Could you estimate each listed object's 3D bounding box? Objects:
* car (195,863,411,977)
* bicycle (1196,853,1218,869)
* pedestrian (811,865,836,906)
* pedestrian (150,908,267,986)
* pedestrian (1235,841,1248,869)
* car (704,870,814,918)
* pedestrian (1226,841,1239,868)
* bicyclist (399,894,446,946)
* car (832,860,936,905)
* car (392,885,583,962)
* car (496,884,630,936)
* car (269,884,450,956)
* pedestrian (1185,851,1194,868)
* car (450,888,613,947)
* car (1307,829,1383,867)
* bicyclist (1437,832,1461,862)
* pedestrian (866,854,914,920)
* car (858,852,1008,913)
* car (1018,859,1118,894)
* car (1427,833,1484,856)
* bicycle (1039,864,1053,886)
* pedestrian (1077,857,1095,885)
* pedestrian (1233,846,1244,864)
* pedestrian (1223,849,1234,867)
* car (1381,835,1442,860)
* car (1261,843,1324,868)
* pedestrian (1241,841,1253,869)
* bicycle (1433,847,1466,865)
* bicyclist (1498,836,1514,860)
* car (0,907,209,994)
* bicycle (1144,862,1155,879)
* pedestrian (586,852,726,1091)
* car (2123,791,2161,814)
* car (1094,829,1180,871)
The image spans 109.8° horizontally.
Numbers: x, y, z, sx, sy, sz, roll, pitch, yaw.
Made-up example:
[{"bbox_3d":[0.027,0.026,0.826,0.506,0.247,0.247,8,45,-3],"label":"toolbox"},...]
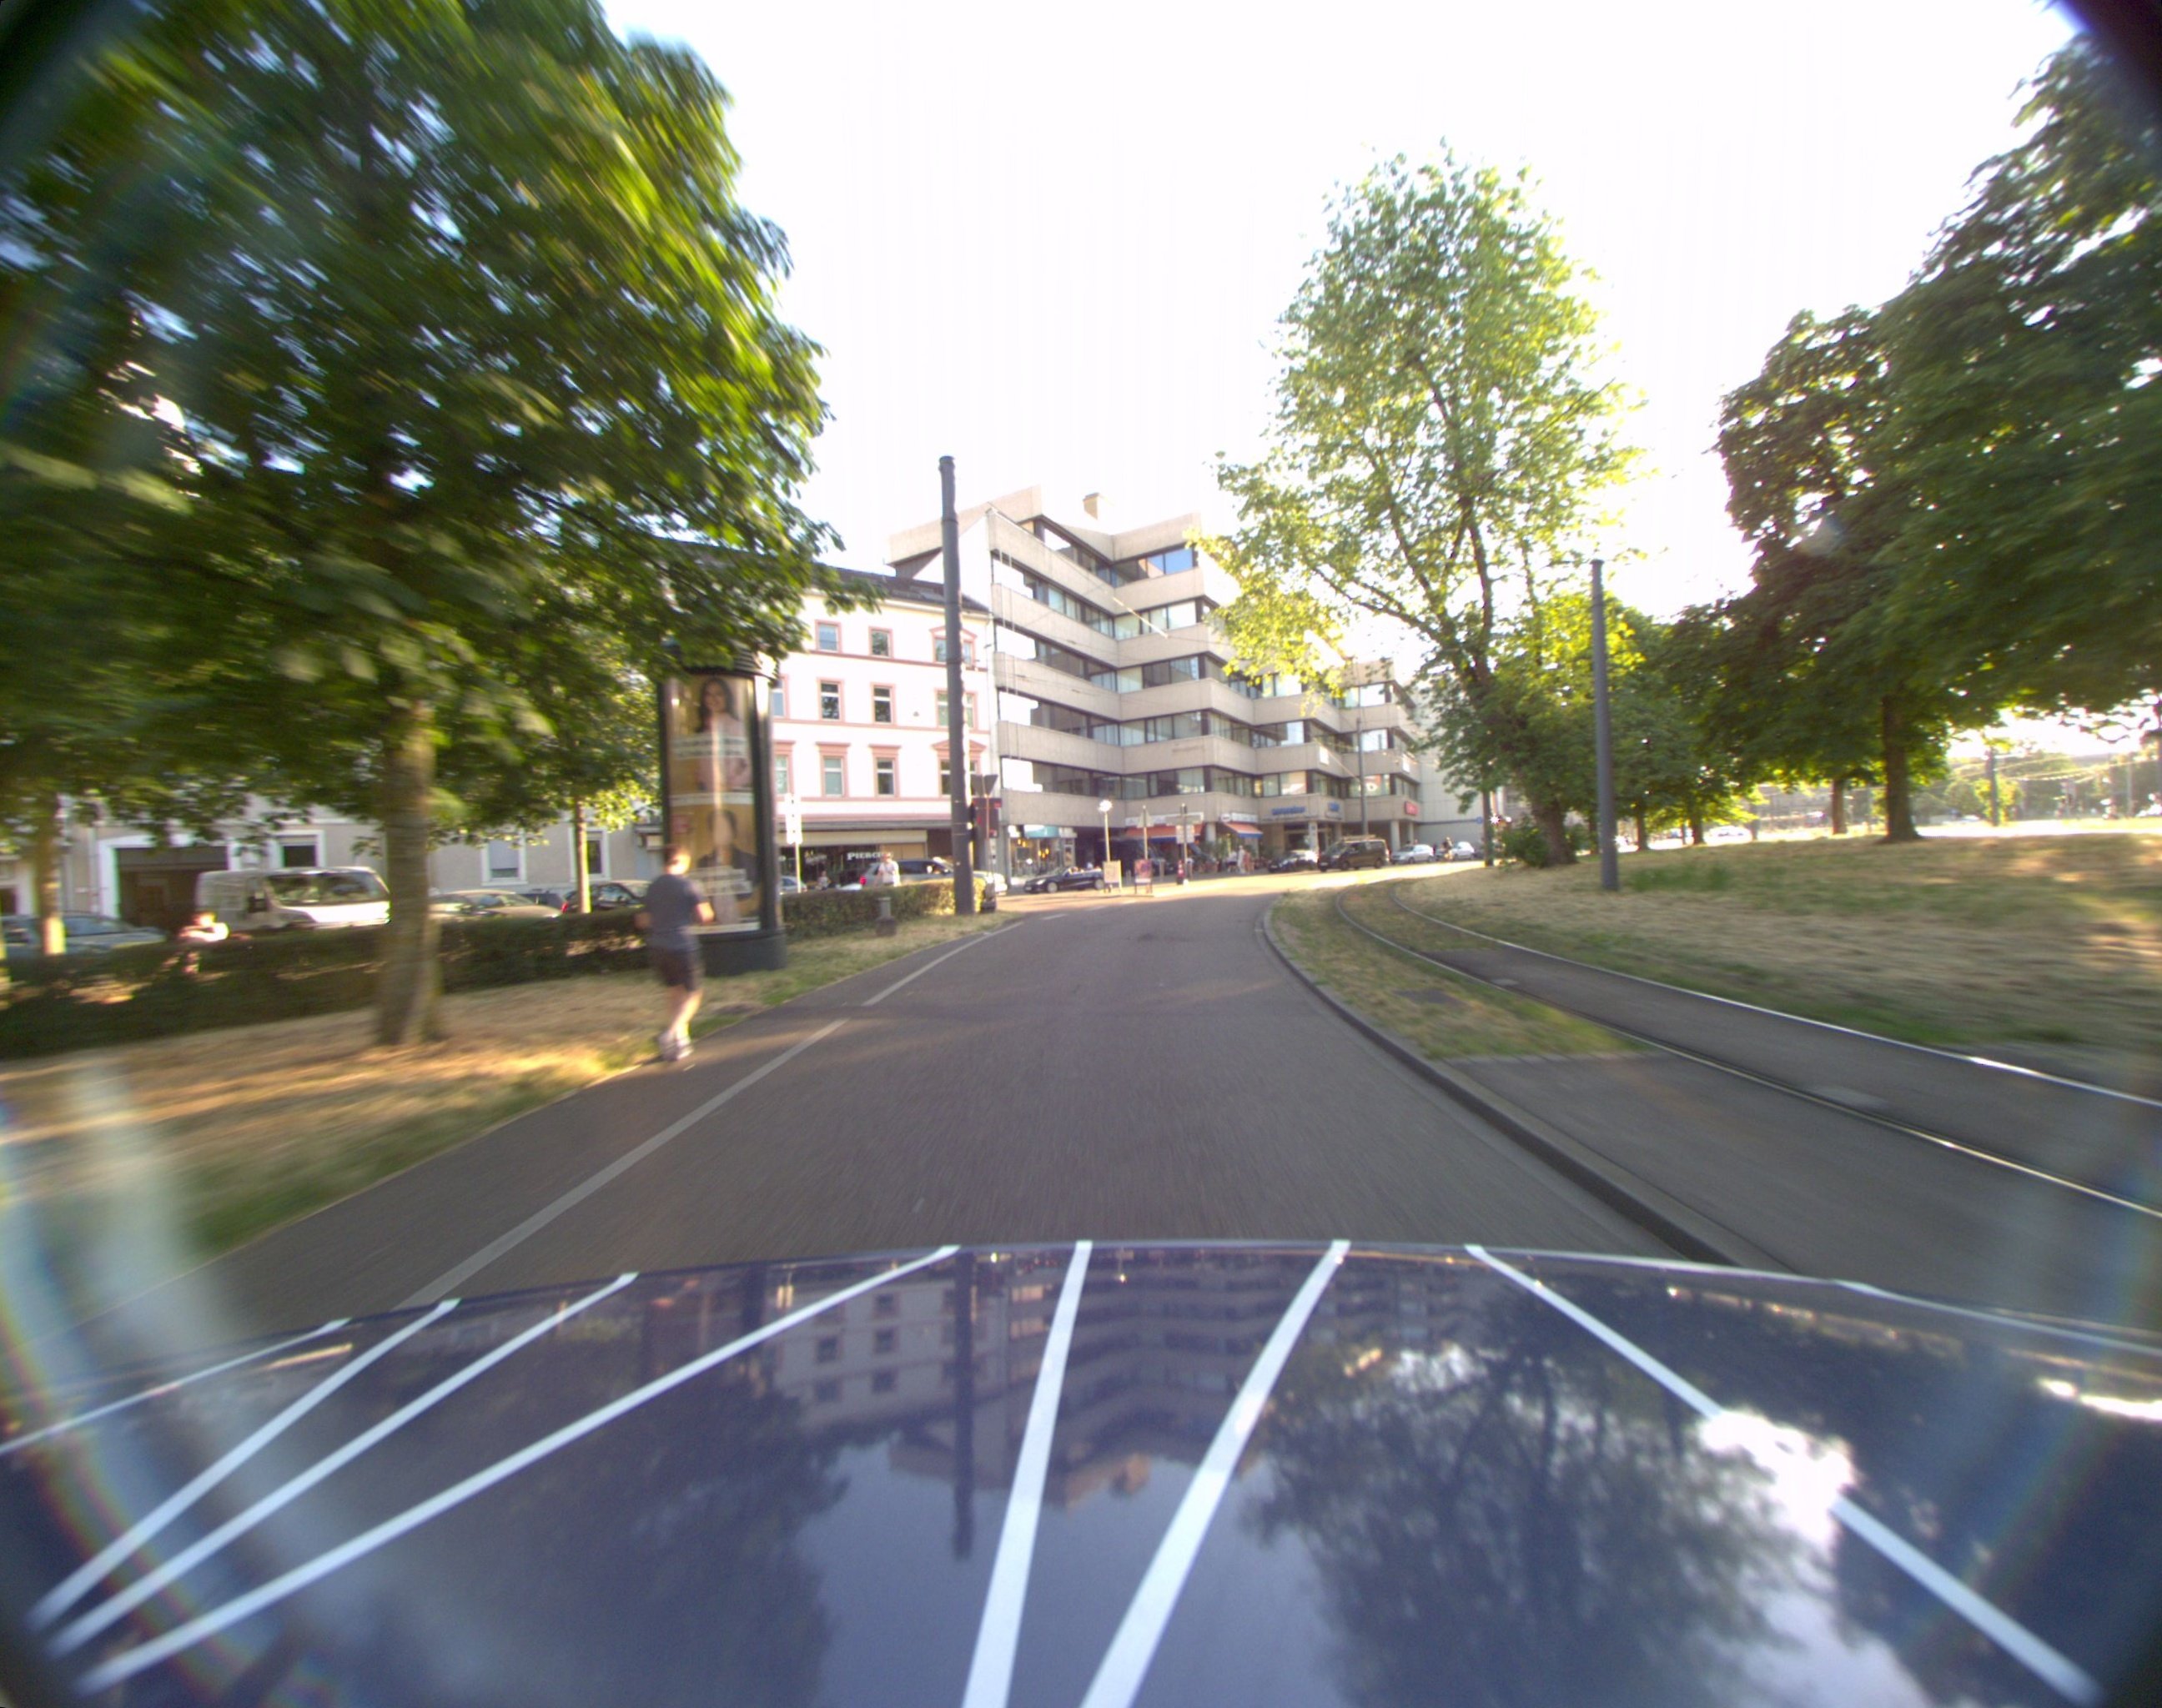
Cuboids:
[{"bbox_3d":[-17.835,1.491,17.387,4.869,2.227,2.098,-4,0,28],"label":"car"},{"bbox_3d":[8.579,0.468,51.891,1.444,0.987,0.531,-1,3,5],"label":"bicycle"},{"bbox_3d":[-11.600,1.418,34.203,0.796,1.789,0.637,-4,0,-34],"label":"pedestrian"},{"bbox_3d":[-15.834,1.646,13.842,0.962,1.219,1.368,-4,0,-31],"label":"pedestrian"},{"bbox_3d":[10.852,0.059,51.411,0.572,1.828,0.605,3,4,44],"label":"pedestrian"},{"bbox_3d":[-13.816,1.646,32.633,4.006,1.631,1.995,-4,3,-31],"label":"car"},{"bbox_3d":[10.381,0.029,52.002,0.537,1.828,0.619,-2,4,-44],"label":"pedestrian"},{"bbox_3d":[-21.736,2.154,25.096,1.012,1.605,0.720,-4,0,-34],"label":"bicyclist"},{"bbox_3d":[-9.267,1.272,35.812,4.235,1.774,1.927,-4,2,-34],"label":"car"},{"bbox_3d":[-14.793,1.727,18.976,3.991,1.595,1.955,-4,0,22],"label":"car"},{"bbox_3d":[-19.453,2.040,28.682,4.006,1.484,1.820,-4,3,-35],"label":"car"},{"bbox_3d":[-24.076,2.133,25.590,4.006,1.875,1.947,-4,3,-33],"label":"car"},{"bbox_3d":[7.547,0.387,52.770,0.460,1.188,0.421,2,3,33],"label":"pedestrian"},{"bbox_3d":[-18.151,2.051,25.339,4.168,1.477,1.933,-4,0,-33],"label":"car"},{"bbox_3d":[16.791,-0.396,48.239,4.529,2.143,1.996,-4,0,-31],"label":"car"},{"bbox_3d":[24.802,-0.480,51.179,1.115,1.962,0.923,-4,0,-31],"label":"bicyclist"},{"bbox_3d":[-5.251,0.890,20.897,0.725,1.720,0.979,-4,0,24],"label":"pedestrian"},{"bbox_3d":[-5.073,0.964,26.502,4.706,1.761,2.000,-4,0,2],"label":"car"},{"bbox_3d":[-0.620,1.120,37.822,4.529,1.386,1.996,-4,0,-31],"label":"car"},{"bbox_3d":[30.933,-0.822,62.682,4.529,1.596,1.996,-4,0,-31],"label":"car"},{"bbox_3d":[-2.065,1.234,44.905,0.487,1.185,1.428,-4,0,9],"label":"bicycle"},{"bbox_3d":[0.269,0.985,43.733,0.794,1.528,0.568,-4,2,-30],"label":"pedestrian"},{"bbox_3d":[11.719,0.065,56.537,0.610,1.313,0.592,-2,1,23],"label":"pedestrian"},{"bbox_3d":[10.598,0.281,54.669,0.610,1.313,0.560,-2,1,23],"label":"pedestrian"},{"bbox_3d":[25.635,-0.508,58.952,4.529,1.596,1.996,-4,0,-31],"label":"car"},{"bbox_3d":[14.281,0.110,51.298,4.006,1.433,1.791,-4,0,-32],"label":"car"},{"bbox_3d":[11.092,0.036,50.736,0.532,1.828,0.501,3,4,42],"label":"pedestrian"},{"bbox_3d":[24.822,0.121,51.172,2.224,1.070,0.934,-4,0,-31],"label":"bicycle"},{"bbox_3d":[31.838,-0.448,56.895,0.859,1.773,0.988,-2,1,39],"label":"bicyclist"},{"bbox_3d":[-20.312,1.948,15.315,3.993,1.390,2.002,-4,0,15],"label":"car"},{"bbox_3d":[3.973,0.942,44.279,0.302,0.987,1.293,-4,0,-7],"label":"bicycle"},{"bbox_3d":[-3.279,0.866,5.895,0.588,1.733,0.644,-3,0,16],"label":"pedestrian"},{"bbox_3d":[101.916,-4.954,72.117,1.995,2.002,4.007,-4,0,30],"label":"car"},{"bbox_3d":[3.872,-0.236,52.404,5.420,2.711,2.185,-1,1,29],"label":"car"}]
